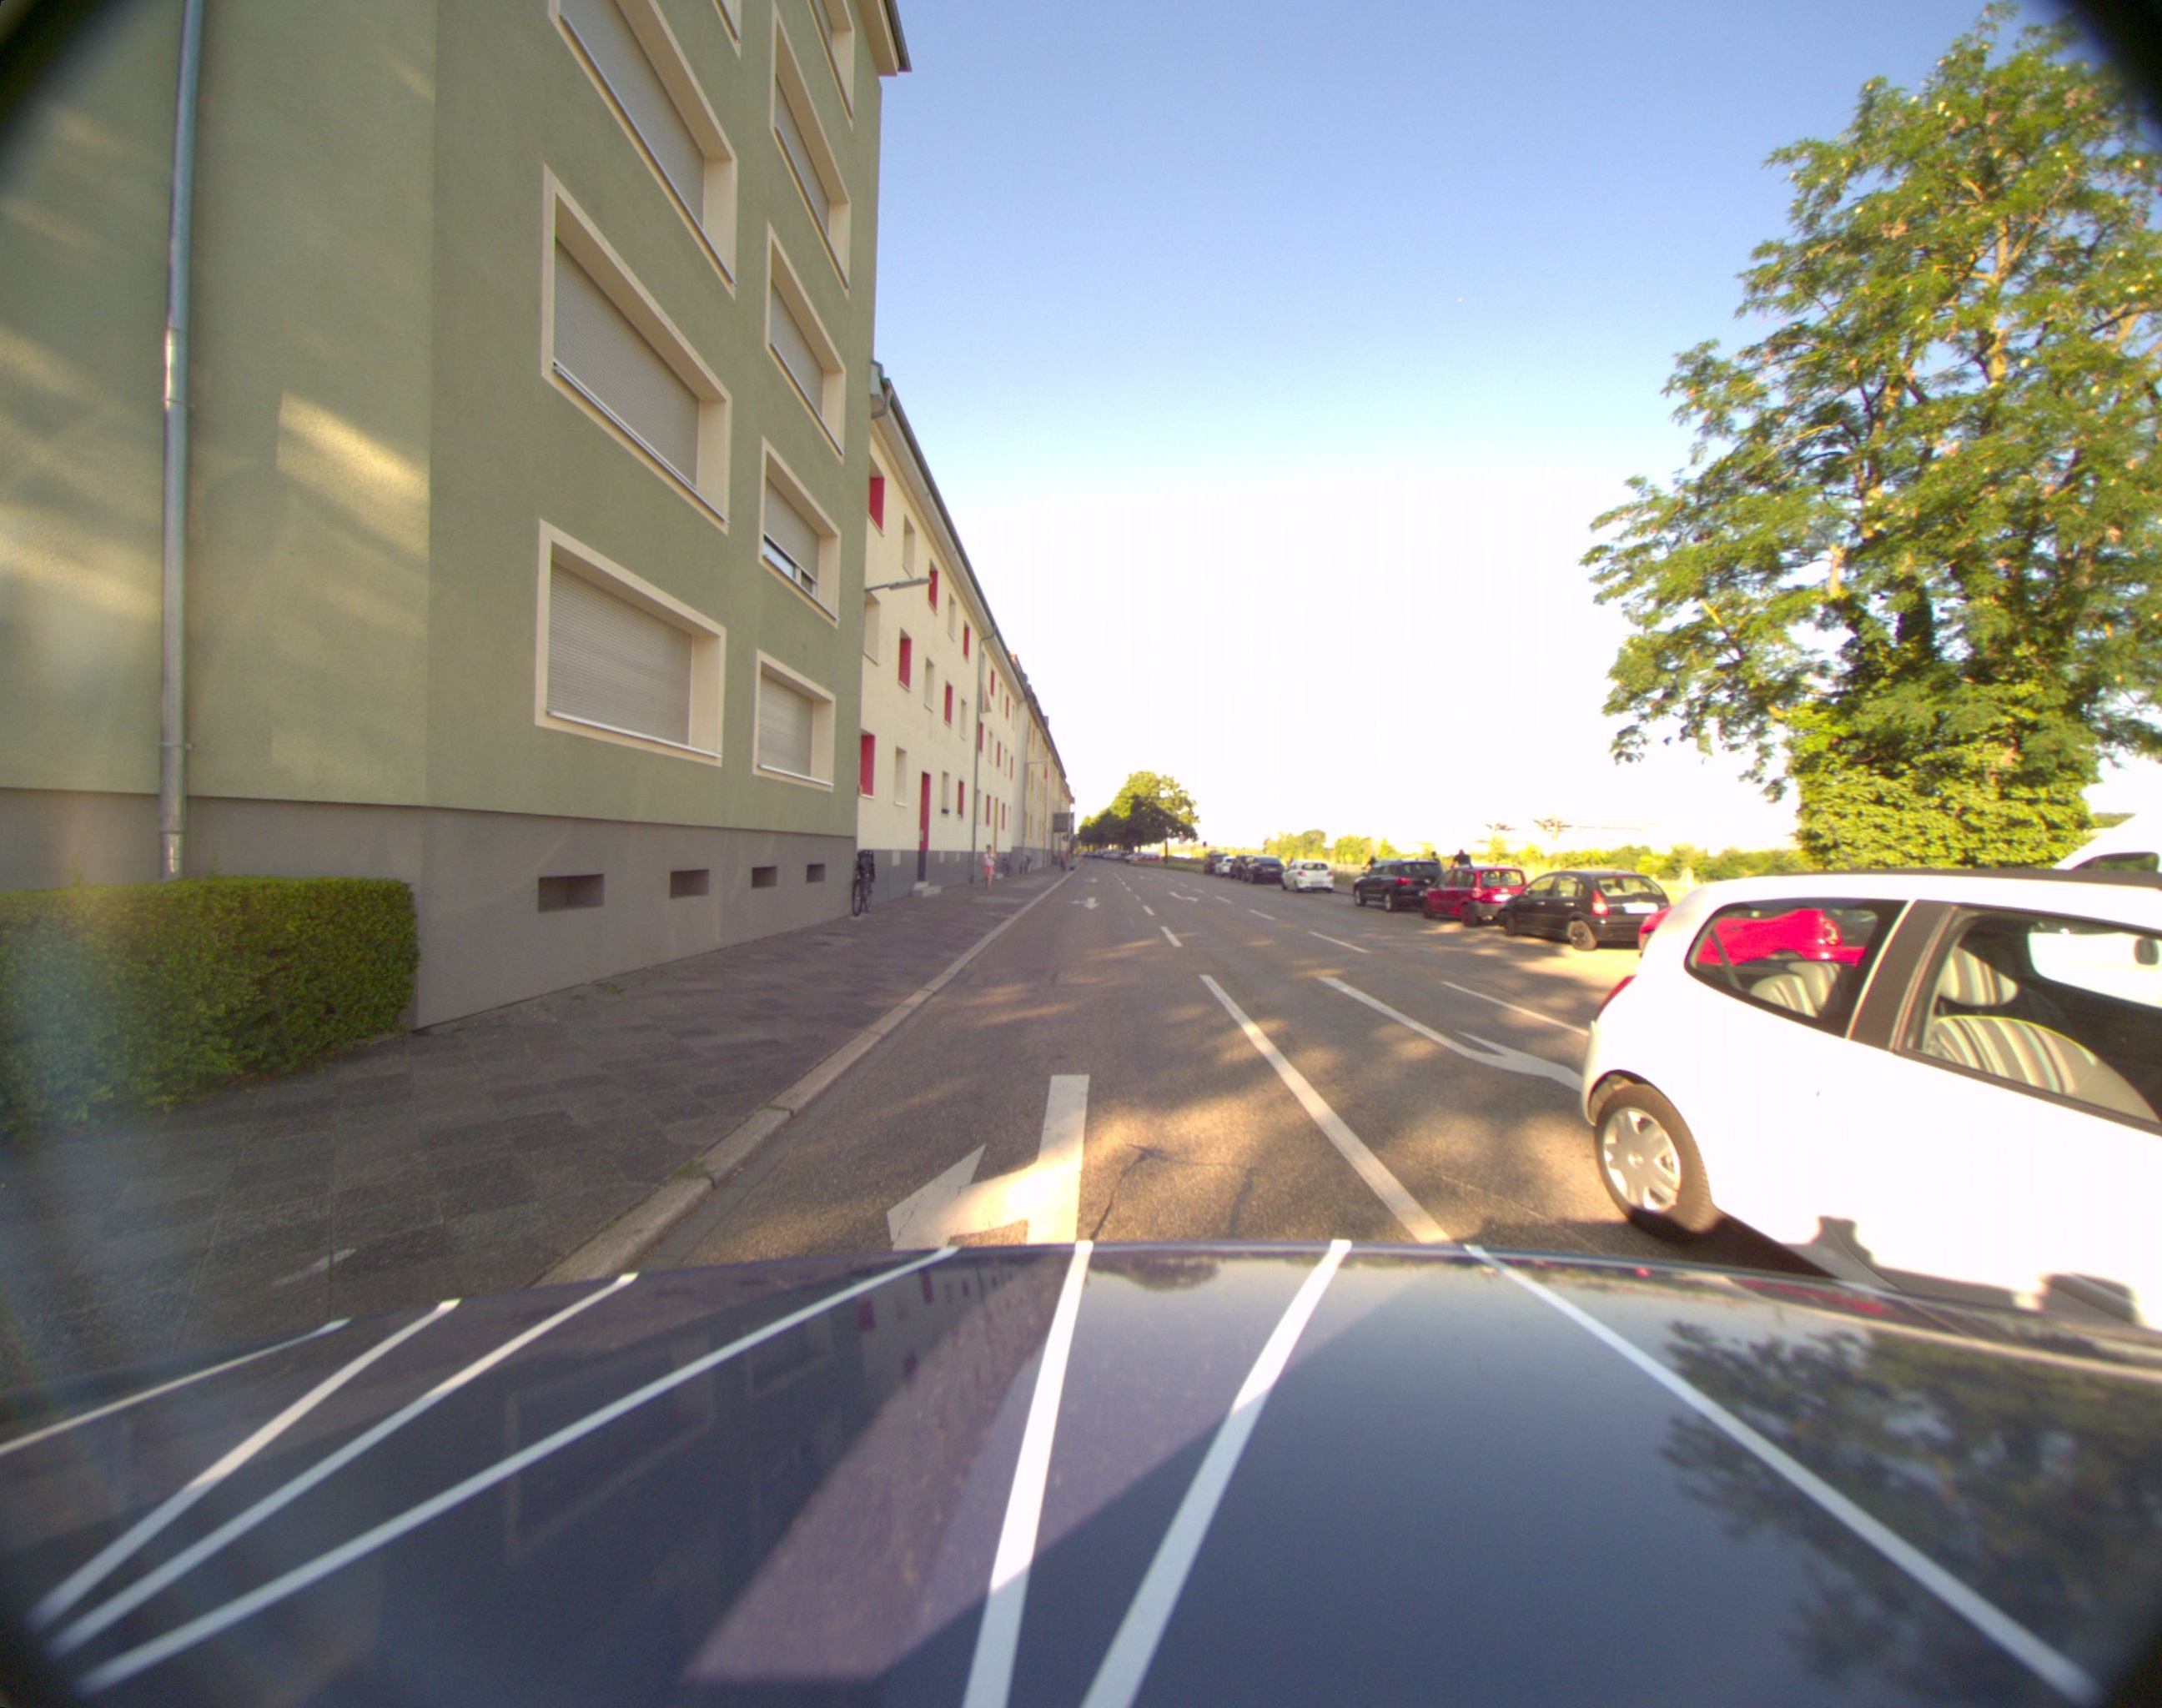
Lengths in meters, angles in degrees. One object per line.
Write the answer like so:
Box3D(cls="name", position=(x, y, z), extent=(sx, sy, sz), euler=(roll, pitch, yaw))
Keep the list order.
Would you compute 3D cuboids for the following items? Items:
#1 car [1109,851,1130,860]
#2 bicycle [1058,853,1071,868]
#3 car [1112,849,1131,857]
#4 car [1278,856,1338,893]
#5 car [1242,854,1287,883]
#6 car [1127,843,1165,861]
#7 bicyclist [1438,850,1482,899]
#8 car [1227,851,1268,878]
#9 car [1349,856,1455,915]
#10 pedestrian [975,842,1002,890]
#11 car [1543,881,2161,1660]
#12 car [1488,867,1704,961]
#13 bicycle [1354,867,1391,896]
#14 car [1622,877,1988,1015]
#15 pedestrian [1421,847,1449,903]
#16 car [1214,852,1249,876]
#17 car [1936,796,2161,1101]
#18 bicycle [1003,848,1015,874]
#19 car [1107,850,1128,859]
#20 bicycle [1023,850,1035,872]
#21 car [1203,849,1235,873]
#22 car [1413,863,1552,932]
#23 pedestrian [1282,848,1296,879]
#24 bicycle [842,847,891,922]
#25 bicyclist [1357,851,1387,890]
Box3D(cls="car", position=(7.494, 0.235, 149.733), extent=(3.997, 1.708, 2.000), euler=(2, 1, -1))
Box3D(cls="bicycle", position=(-1.244, 0.481, 56.842), extent=(0.651, 1.091, 2.201), euler=(1, 1, -8))
Box3D(cls="car", position=(9.203, -0.243, 173.165), extent=(3.997, 1.708, 2.000), euler=(2, 1, -1))
Box3D(cls="car", position=(10.413, 0.913, 35.070), extent=(1.706, 1.517, 3.583), euler=(2, 1, 1))
Box3D(cls="car", position=(10.574, 0.803, 44.003), extent=(1.823, 1.517, 4.291), euler=(2, 1, 5))
Box3D(cls="car", position=(9.527, -0.313, 112.242), extent=(5.322, 2.398, 2.266), euler=(-2, 1, 0))
Box3D(cls="bicyclist", position=(12.754, 0.678, 25.574), extent=(0.866, 1.587, 1.146), euler=(2, 1, 1))
Box3D(cls="car", position=(10.851, 0.673, 49.703), extent=(1.823, 1.628, 4.220), euler=(2, 1, 2))
Box3D(cls="car", position=(10.144, 0.943, 24.349), extent=(1.664, 1.649, 4.005), euler=(2, 1, 0))
Box3D(cls="pedestrian", position=(-3.368, 0.423, 27.779), extent=(0.787, 1.697, 0.950), euler=(3, 1, 1))
Box3D(cls="car", position=(3.014, 0.890, 1.609), extent=(1.705, 1.460, 3.775), euler=(2, 1, -1))
Box3D(cls="car", position=(10.171, 1.099, 15.412), extent=(1.745, 1.521, 3.816), euler=(2, 1, 0))
Box3D(cls="bicycle", position=(12.097, 1.112, 31.621), extent=(0.748, 1.084, 2.163), euler=(2, 1, 3))
Box3D(cls="car", position=(10.069, 1.173, 11.042), extent=(1.745, 1.478, 3.694), euler=(2, 1, 0))
Box3D(cls="pedestrian", position=(13.124, 0.768, 28.181), extent=(0.615, 2.002, 0.730), euler=(2, 1, -1))
Box3D(cls="car", position=(10.857, 0.697, 55.096), extent=(1.823, 1.565, 4.220), euler=(2, 1, 2))
Box3D(cls="car", position=(9.689, 0.743, 4.820), extent=(2.235, 2.422, 5.559), euler=(-1, 1, -1))
Box3D(cls="bicycle", position=(-3.930, 0.373, 41.375), extent=(0.517, 1.404, 1.873), euler=(2, 1, -3))
Box3D(cls="car", position=(7.426, 0.175, 155.316), extent=(3.997, 1.708, 2.000), euler=(2, 1, -1))
Box3D(cls="bicycle", position=(-3.160, 0.424, 46.307), extent=(0.517, 1.318, 2.210), euler=(2, 1, 2))
Box3D(cls="car", position=(11.006, 0.513, 60.981), extent=(1.890, 1.765, 4.220), euler=(2, 1, 2))
Box3D(cls="car", position=(10.265, 1.057, 19.728), extent=(1.664, 1.521, 3.579), euler=(2, 1, 0))
Box3D(cls="pedestrian", position=(13.758, 0.604, 50.360), extent=(0.706, 2.002, 0.710), euler=(2, 1, 2))
Box3D(cls="bicycle", position=(-4.308, 0.570, 15.371), extent=(0.517, 1.404, 1.873), euler=(2, 1, -3))
Box3D(cls="bicyclist", position=(12.085, 0.663, 31.568), extent=(0.768, 1.587, 1.146), euler=(2, 1, 2))
